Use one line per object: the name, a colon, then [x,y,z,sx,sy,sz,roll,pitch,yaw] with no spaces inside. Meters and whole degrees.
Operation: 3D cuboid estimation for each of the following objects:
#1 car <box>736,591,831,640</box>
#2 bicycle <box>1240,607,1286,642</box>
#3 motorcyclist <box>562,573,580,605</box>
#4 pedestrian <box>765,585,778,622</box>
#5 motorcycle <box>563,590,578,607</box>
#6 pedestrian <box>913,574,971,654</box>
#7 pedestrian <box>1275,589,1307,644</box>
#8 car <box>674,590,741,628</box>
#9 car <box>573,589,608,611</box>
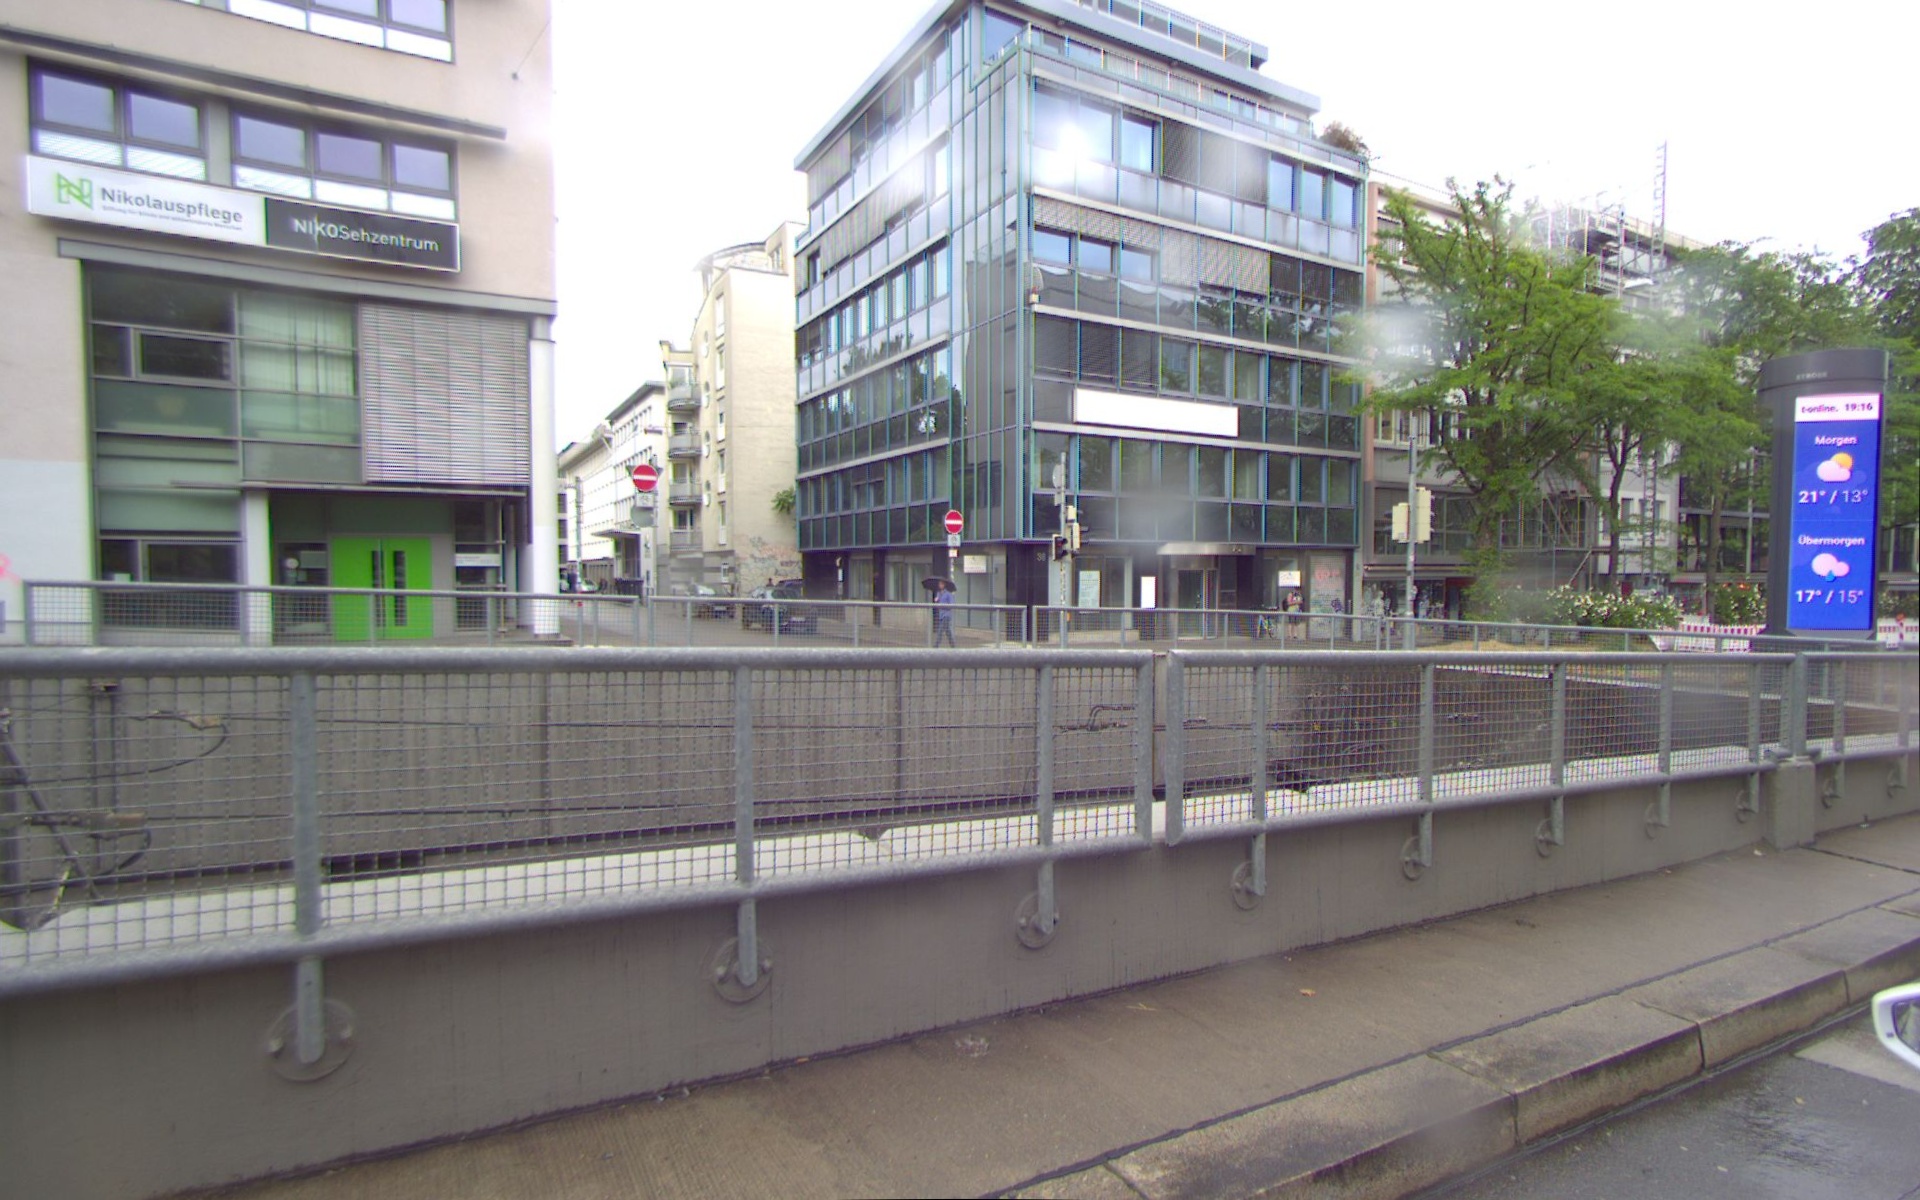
car: [-6.244,0.502,35.172,1.977,1.578,3.966,1,0,-31]
bicycle: [9.865,0.789,32.724,1.544,1.100,0.444,1,1,-27]
motorcyclist: [-23.177,-0.655,59.823,0.850,1.832,1.007,1,2,-29]
pedestrian: [-8.718,0.164,46.519,0.443,1.664,0.326,1,2,-35]
motorcycle: [-23.196,-0.098,59.836,0.696,0.984,0.977,1,2,-29]
pedestrian: [-0.439,0.321,24.008,1.047,1.863,0.853,1,2,-30]
pedestrian: [10.945,0.548,33.232,0.688,1.765,0.691,1,2,-35]
car: [-11.110,0.362,44.110,1.777,1.578,3.966,1,0,-31]
car: [-27.963,-0.002,75.916,1.777,1.578,3.967,1,0,-30]
